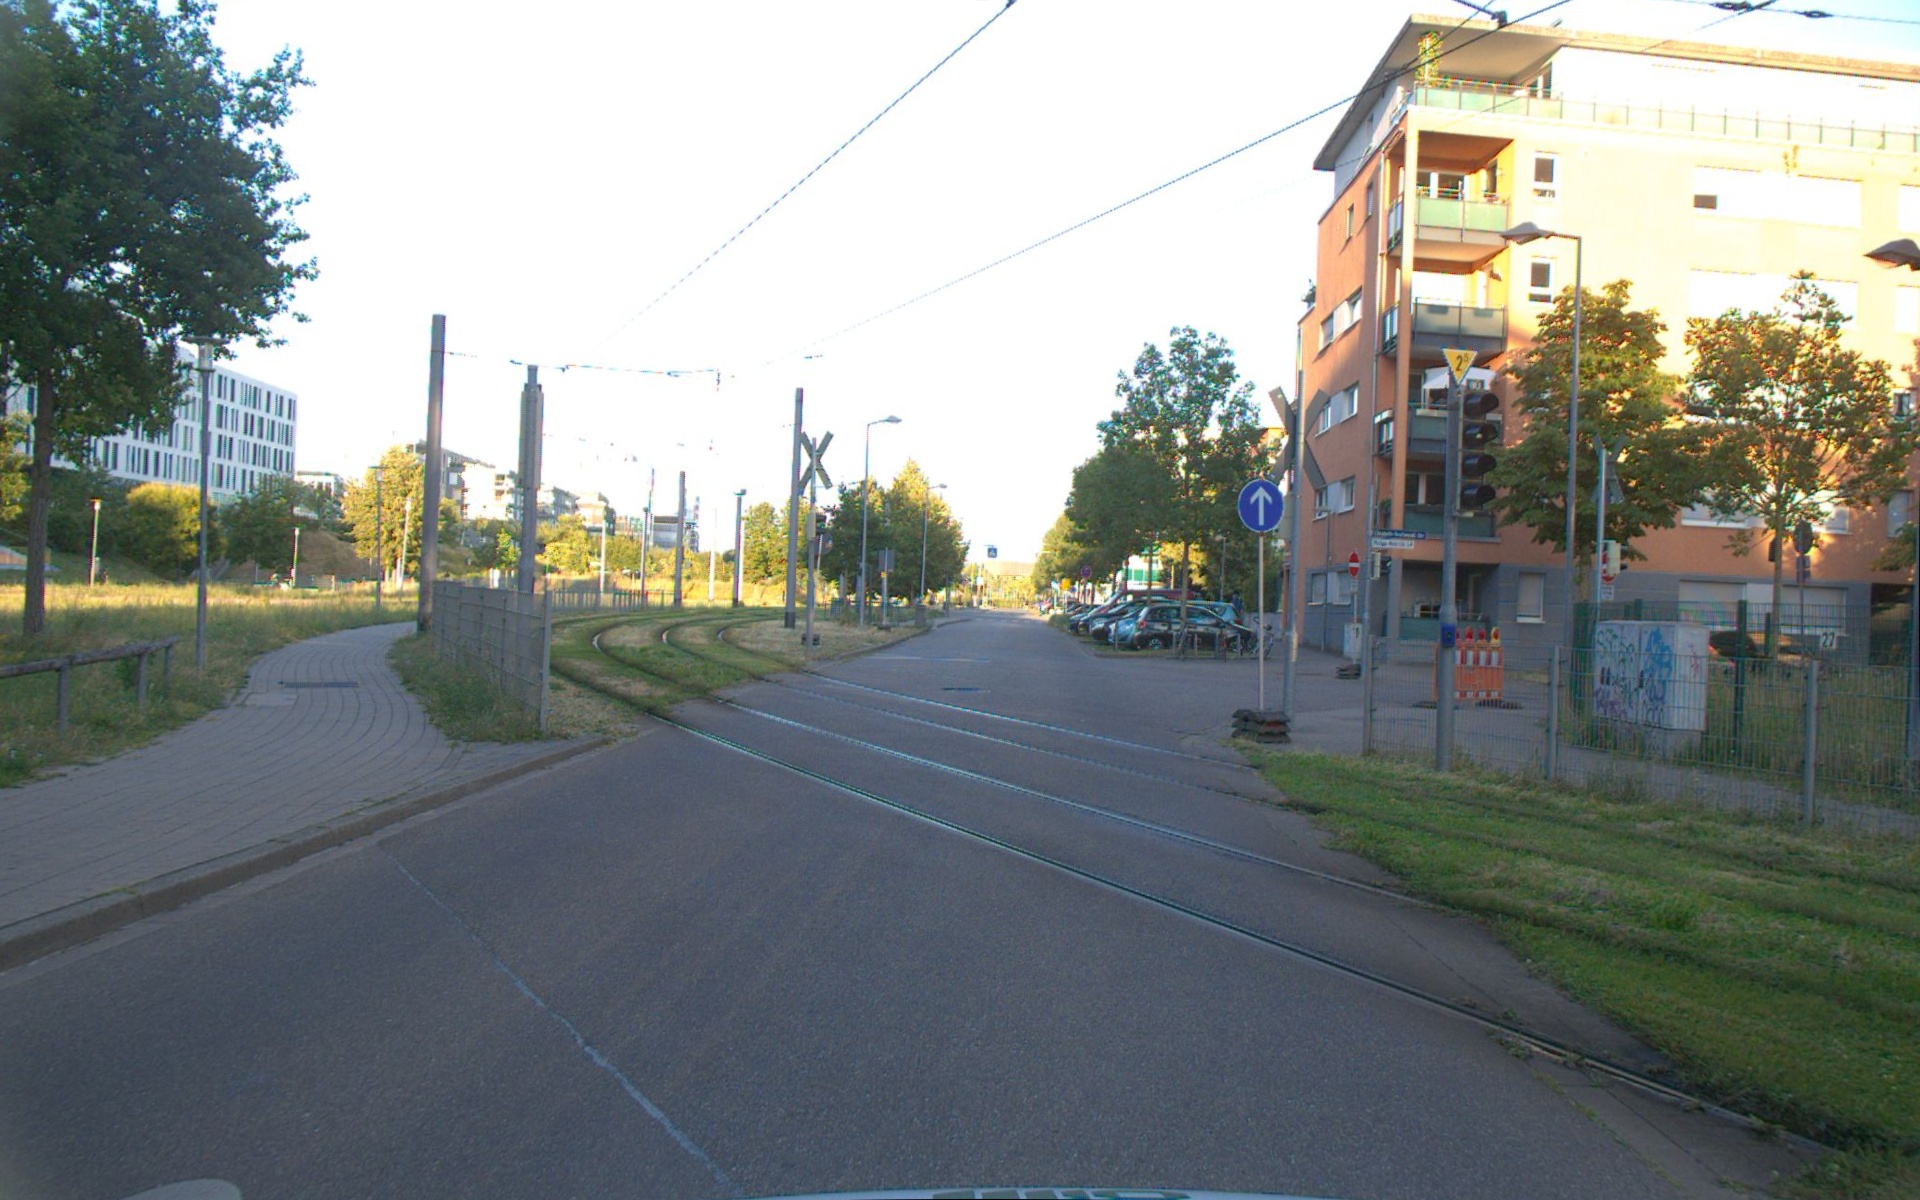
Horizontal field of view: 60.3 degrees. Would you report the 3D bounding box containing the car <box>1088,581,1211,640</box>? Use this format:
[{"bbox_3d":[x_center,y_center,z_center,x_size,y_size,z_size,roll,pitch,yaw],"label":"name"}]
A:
[{"bbox_3d":[7.670,0.423,67.353,4.817,2.154,2.018,2,0,3],"label":"car"}]

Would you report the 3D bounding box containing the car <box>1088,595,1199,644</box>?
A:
[{"bbox_3d":[6.366,0.696,57.546,3.695,1.522,1.539,2,-2,1],"label":"car"}]

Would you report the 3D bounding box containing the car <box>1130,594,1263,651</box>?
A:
[{"bbox_3d":[7.082,0.667,49.741,3.675,1.499,1.612,3,0,-3],"label":"car"}]

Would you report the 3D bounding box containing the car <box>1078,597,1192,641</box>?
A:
[{"bbox_3d":[6.528,0.698,62.078,4.128,1.596,1.793,0,0,2],"label":"car"}]

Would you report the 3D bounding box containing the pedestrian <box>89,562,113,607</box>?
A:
[{"bbox_3d":[-41.701,-0.746,80.289,0.603,2.118,0.790,4,0,1],"label":"pedestrian"}]

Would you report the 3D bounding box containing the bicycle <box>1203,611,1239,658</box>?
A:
[{"bbox_3d":[7.123,0.926,45.180,0.665,1.172,1.928,0,2,0],"label":"bicycle"}]

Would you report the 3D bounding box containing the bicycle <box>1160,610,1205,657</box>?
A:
[{"bbox_3d":[6.086,0.907,45.270,0.703,1.172,1.895,1,2,-8],"label":"bicycle"}]

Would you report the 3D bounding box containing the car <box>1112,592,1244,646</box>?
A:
[{"bbox_3d":[6.845,0.592,52.140,3.966,1.596,1.673,1,0,2],"label":"car"}]

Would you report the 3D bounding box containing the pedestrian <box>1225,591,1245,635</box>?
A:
[{"bbox_3d":[11.226,0.531,67.639,0.655,1.773,0.699,2,0,2],"label":"pedestrian"}]

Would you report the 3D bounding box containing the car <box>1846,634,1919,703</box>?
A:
[{"bbox_3d":[24.808,1.775,41.658,1.956,1.622,4.808,2,0,-7],"label":"car"}]

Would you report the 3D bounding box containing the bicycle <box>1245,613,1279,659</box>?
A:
[{"bbox_3d":[8.316,0.987,45.616,0.518,1.146,1.963,4,2,0],"label":"bicycle"}]

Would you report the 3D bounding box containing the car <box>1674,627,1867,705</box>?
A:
[{"bbox_3d":[19.980,1.588,41.024,1.956,1.622,4.808,3,0,-7],"label":"car"}]

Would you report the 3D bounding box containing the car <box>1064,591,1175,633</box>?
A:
[{"bbox_3d":[6.788,0.521,70.683,4.573,1.584,1.811,2,0,1],"label":"car"}]

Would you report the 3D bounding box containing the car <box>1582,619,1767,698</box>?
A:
[{"bbox_3d":[17.320,1.369,40.376,1.956,1.622,4.808,3,0,-7],"label":"car"}]

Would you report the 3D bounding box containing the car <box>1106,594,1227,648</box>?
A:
[{"bbox_3d":[6.822,0.694,54.924,3.796,1.596,1.620,2,0,2],"label":"car"}]
